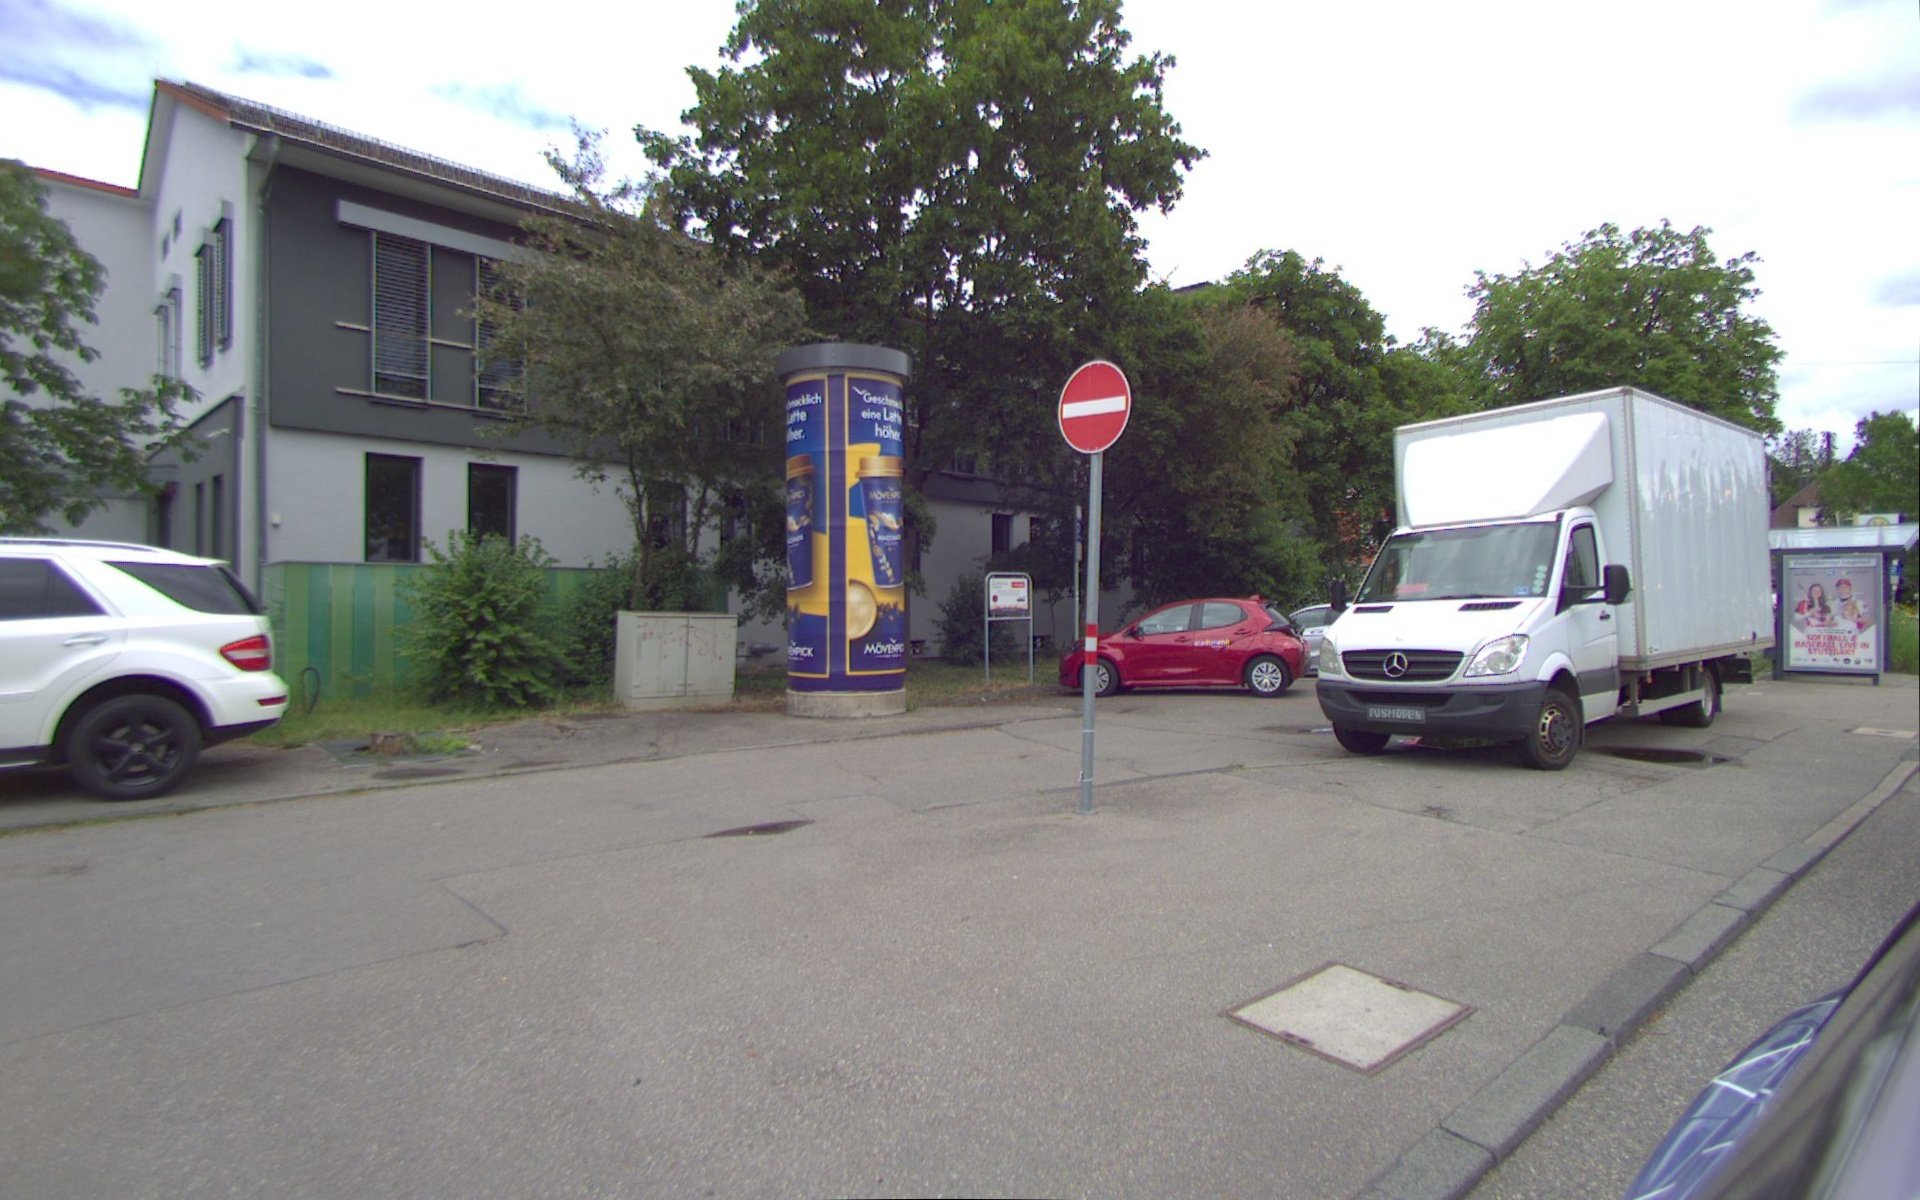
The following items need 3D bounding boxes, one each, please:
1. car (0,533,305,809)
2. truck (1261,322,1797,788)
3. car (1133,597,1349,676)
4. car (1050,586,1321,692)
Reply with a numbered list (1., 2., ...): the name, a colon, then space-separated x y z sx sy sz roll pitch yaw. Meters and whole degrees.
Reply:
1. car: -7.278 0.458 6.798 4.640 1.780 1.855 0 0 -41
2. truck: 6.571 -0.394 10.992 7.638 3.469 2.540 -1 0 -40
3. car: 5.524 0.713 20.074 3.946 1.428 1.516 -2 -1 18
4. car: 3.517 0.615 15.837 3.856 1.502 1.669 -2 -1 25
